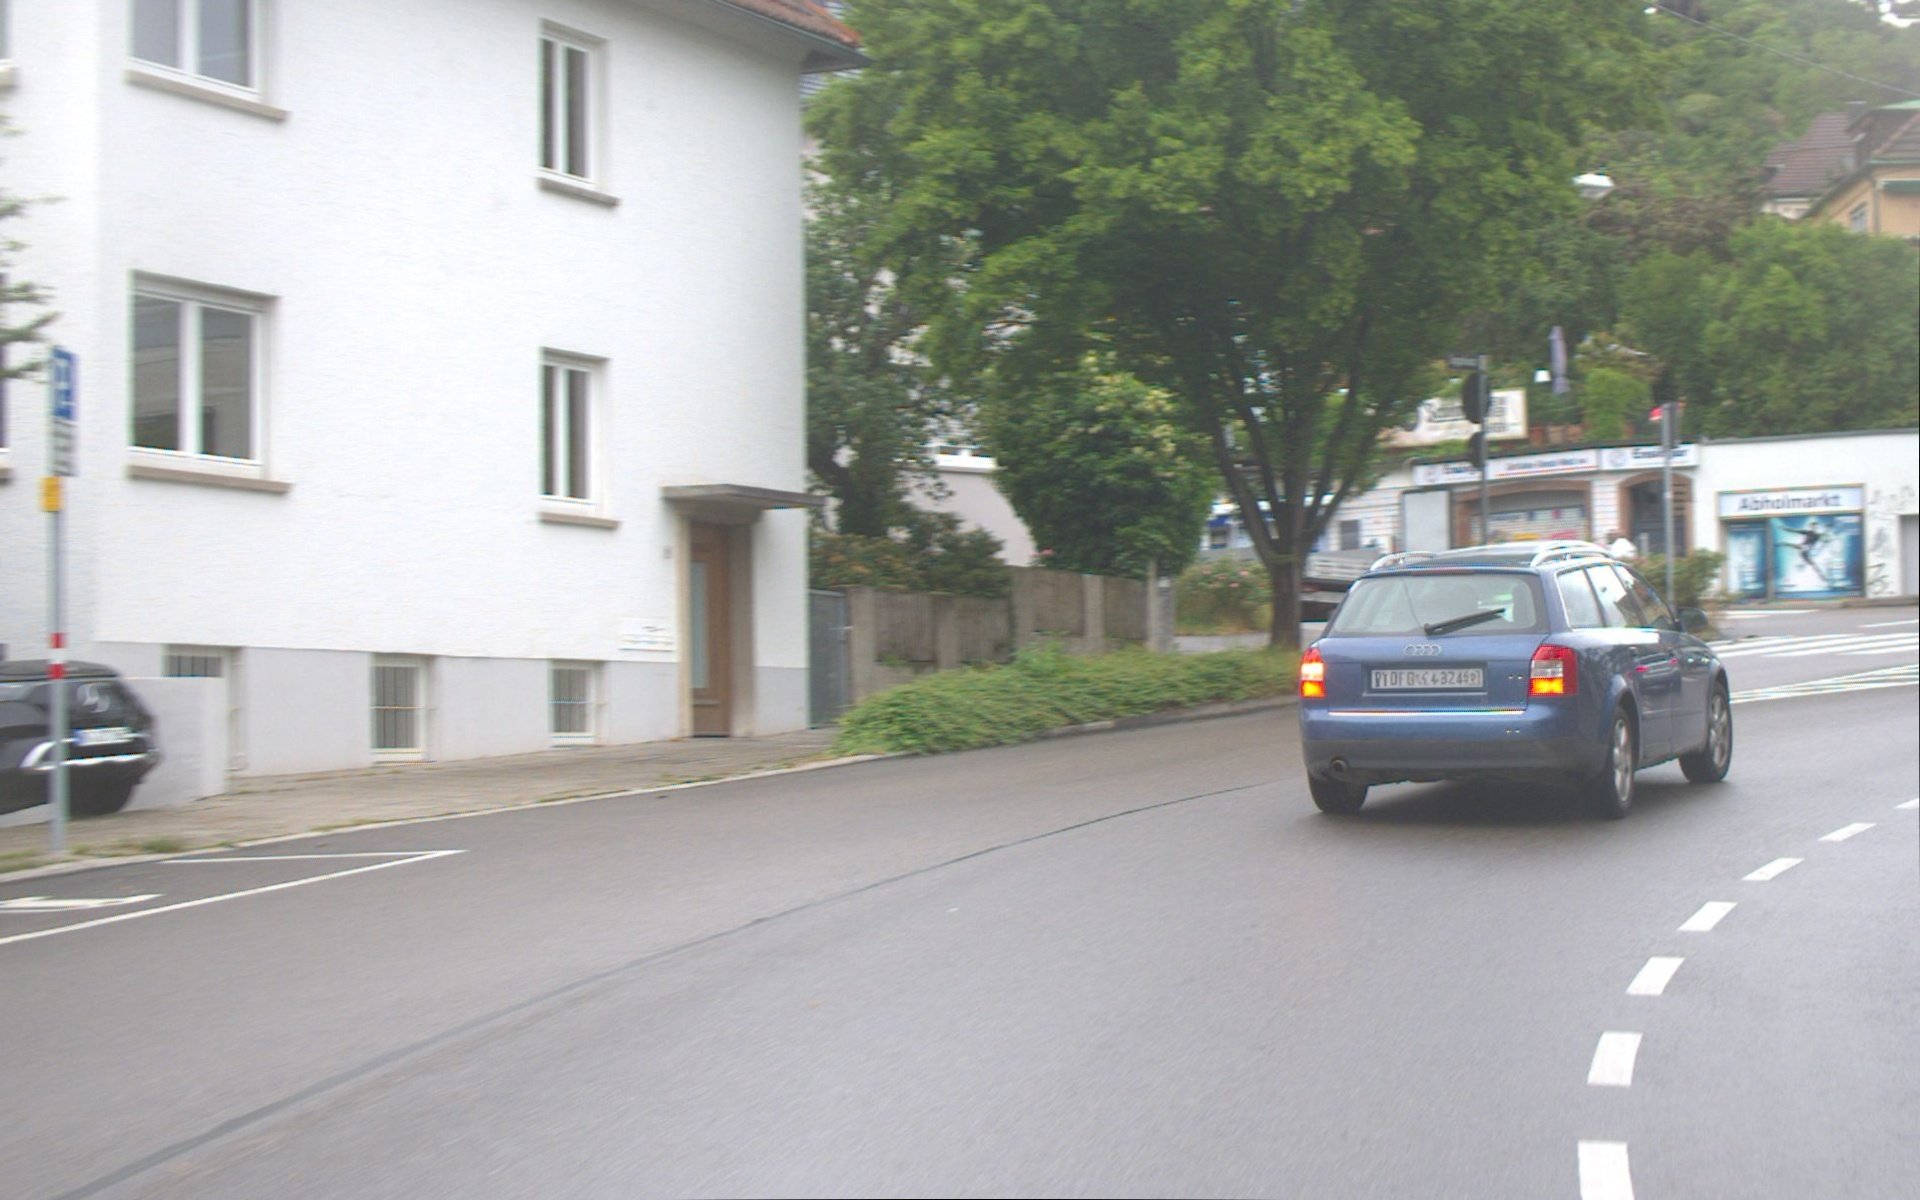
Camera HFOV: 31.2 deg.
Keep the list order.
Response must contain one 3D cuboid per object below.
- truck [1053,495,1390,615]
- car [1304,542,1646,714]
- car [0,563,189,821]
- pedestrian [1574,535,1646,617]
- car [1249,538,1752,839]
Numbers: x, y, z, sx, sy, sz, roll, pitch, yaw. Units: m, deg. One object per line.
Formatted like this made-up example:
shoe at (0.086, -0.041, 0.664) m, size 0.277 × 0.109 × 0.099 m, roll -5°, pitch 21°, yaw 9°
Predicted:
truck at (5.120, -0.923, 68.271) m, size 2.308 × 2.261 × 6.805 m, roll -1°, pitch 2°, yaw -45°
car at (4.647, 0.210, 30.642) m, size 1.490 × 1.418 × 3.849 m, roll 1°, pitch 1°, yaw 34°
car at (-7.760, 0.843, 23.869) m, size 4.245 × 1.618 × 1.997 m, roll -9°, pitch -3°, yaw 26°
pedestrian at (12.216, -0.462, 64.601) m, size 0.888 × 1.500 × 0.978 m, roll -3°, pitch 3°, yaw -41°
car at (3.216, 0.413, 19.760) m, size 1.814 × 1.434 × 4.076 m, roll 1°, pitch 3°, yaw 25°
